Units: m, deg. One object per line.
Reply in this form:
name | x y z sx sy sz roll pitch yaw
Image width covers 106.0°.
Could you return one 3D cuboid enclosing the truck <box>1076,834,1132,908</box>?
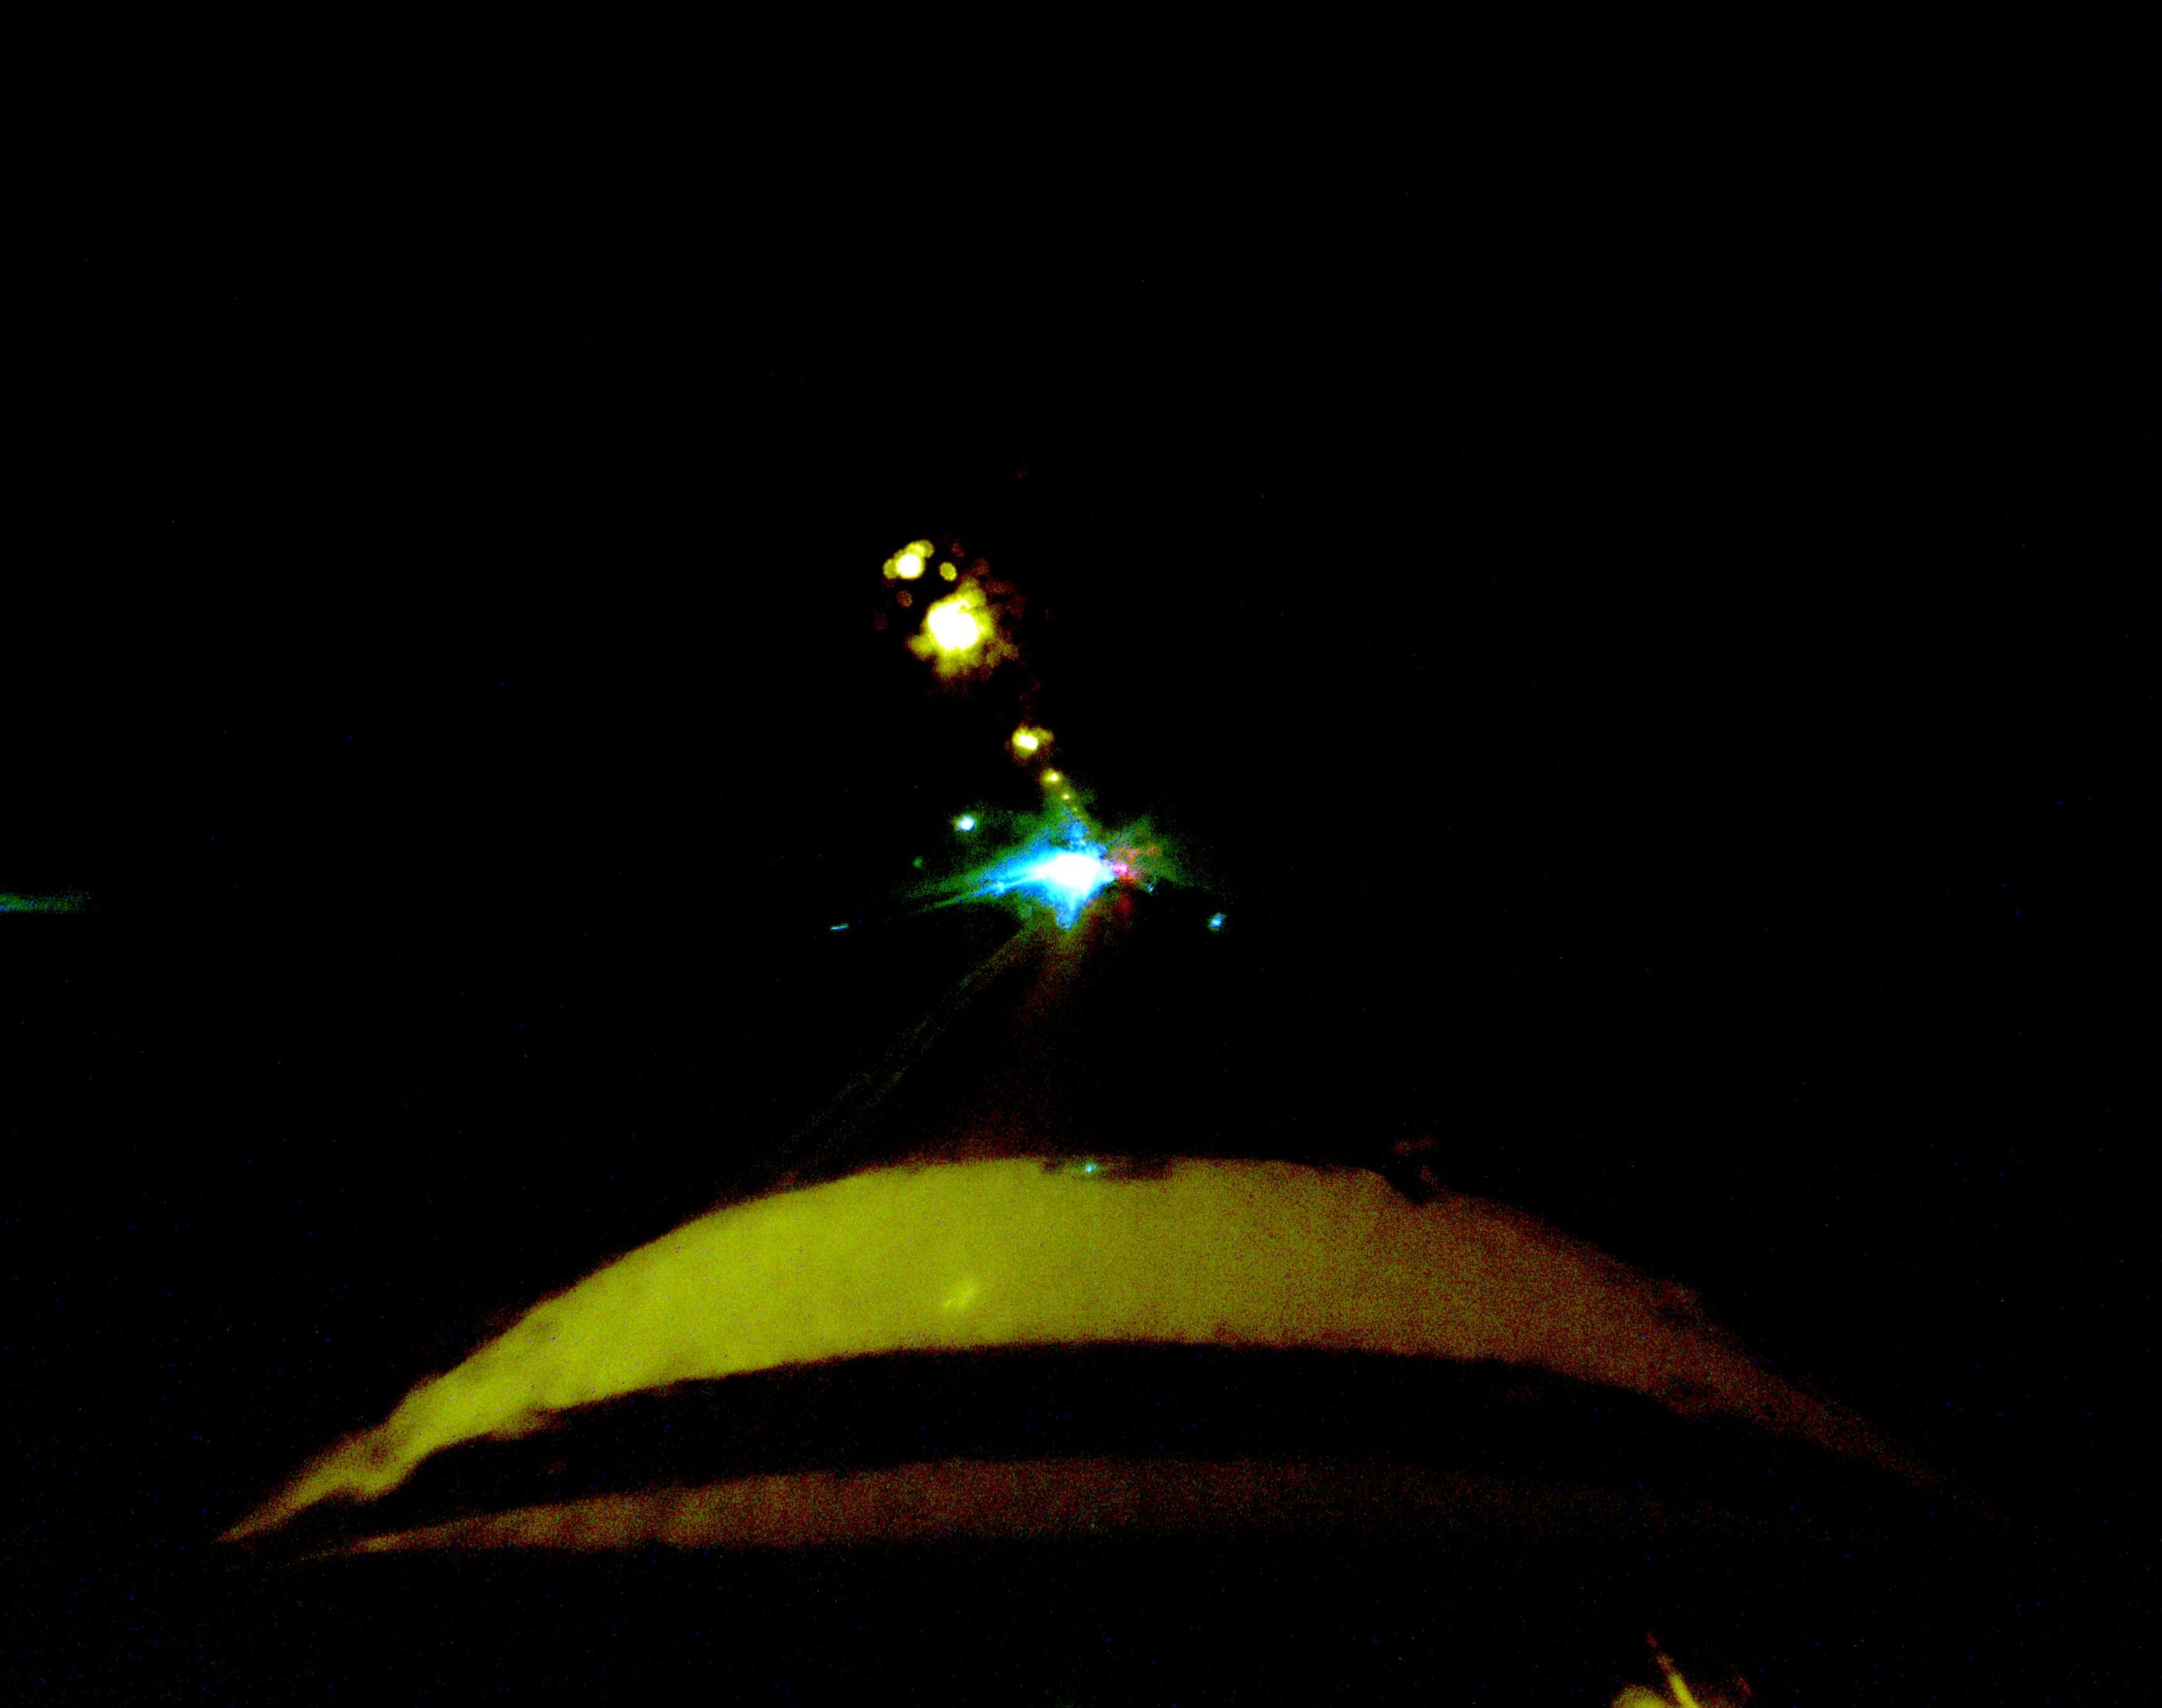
truck | 1.071 0.715 36.935 2.253 3.011 7.418 0 -1 2
